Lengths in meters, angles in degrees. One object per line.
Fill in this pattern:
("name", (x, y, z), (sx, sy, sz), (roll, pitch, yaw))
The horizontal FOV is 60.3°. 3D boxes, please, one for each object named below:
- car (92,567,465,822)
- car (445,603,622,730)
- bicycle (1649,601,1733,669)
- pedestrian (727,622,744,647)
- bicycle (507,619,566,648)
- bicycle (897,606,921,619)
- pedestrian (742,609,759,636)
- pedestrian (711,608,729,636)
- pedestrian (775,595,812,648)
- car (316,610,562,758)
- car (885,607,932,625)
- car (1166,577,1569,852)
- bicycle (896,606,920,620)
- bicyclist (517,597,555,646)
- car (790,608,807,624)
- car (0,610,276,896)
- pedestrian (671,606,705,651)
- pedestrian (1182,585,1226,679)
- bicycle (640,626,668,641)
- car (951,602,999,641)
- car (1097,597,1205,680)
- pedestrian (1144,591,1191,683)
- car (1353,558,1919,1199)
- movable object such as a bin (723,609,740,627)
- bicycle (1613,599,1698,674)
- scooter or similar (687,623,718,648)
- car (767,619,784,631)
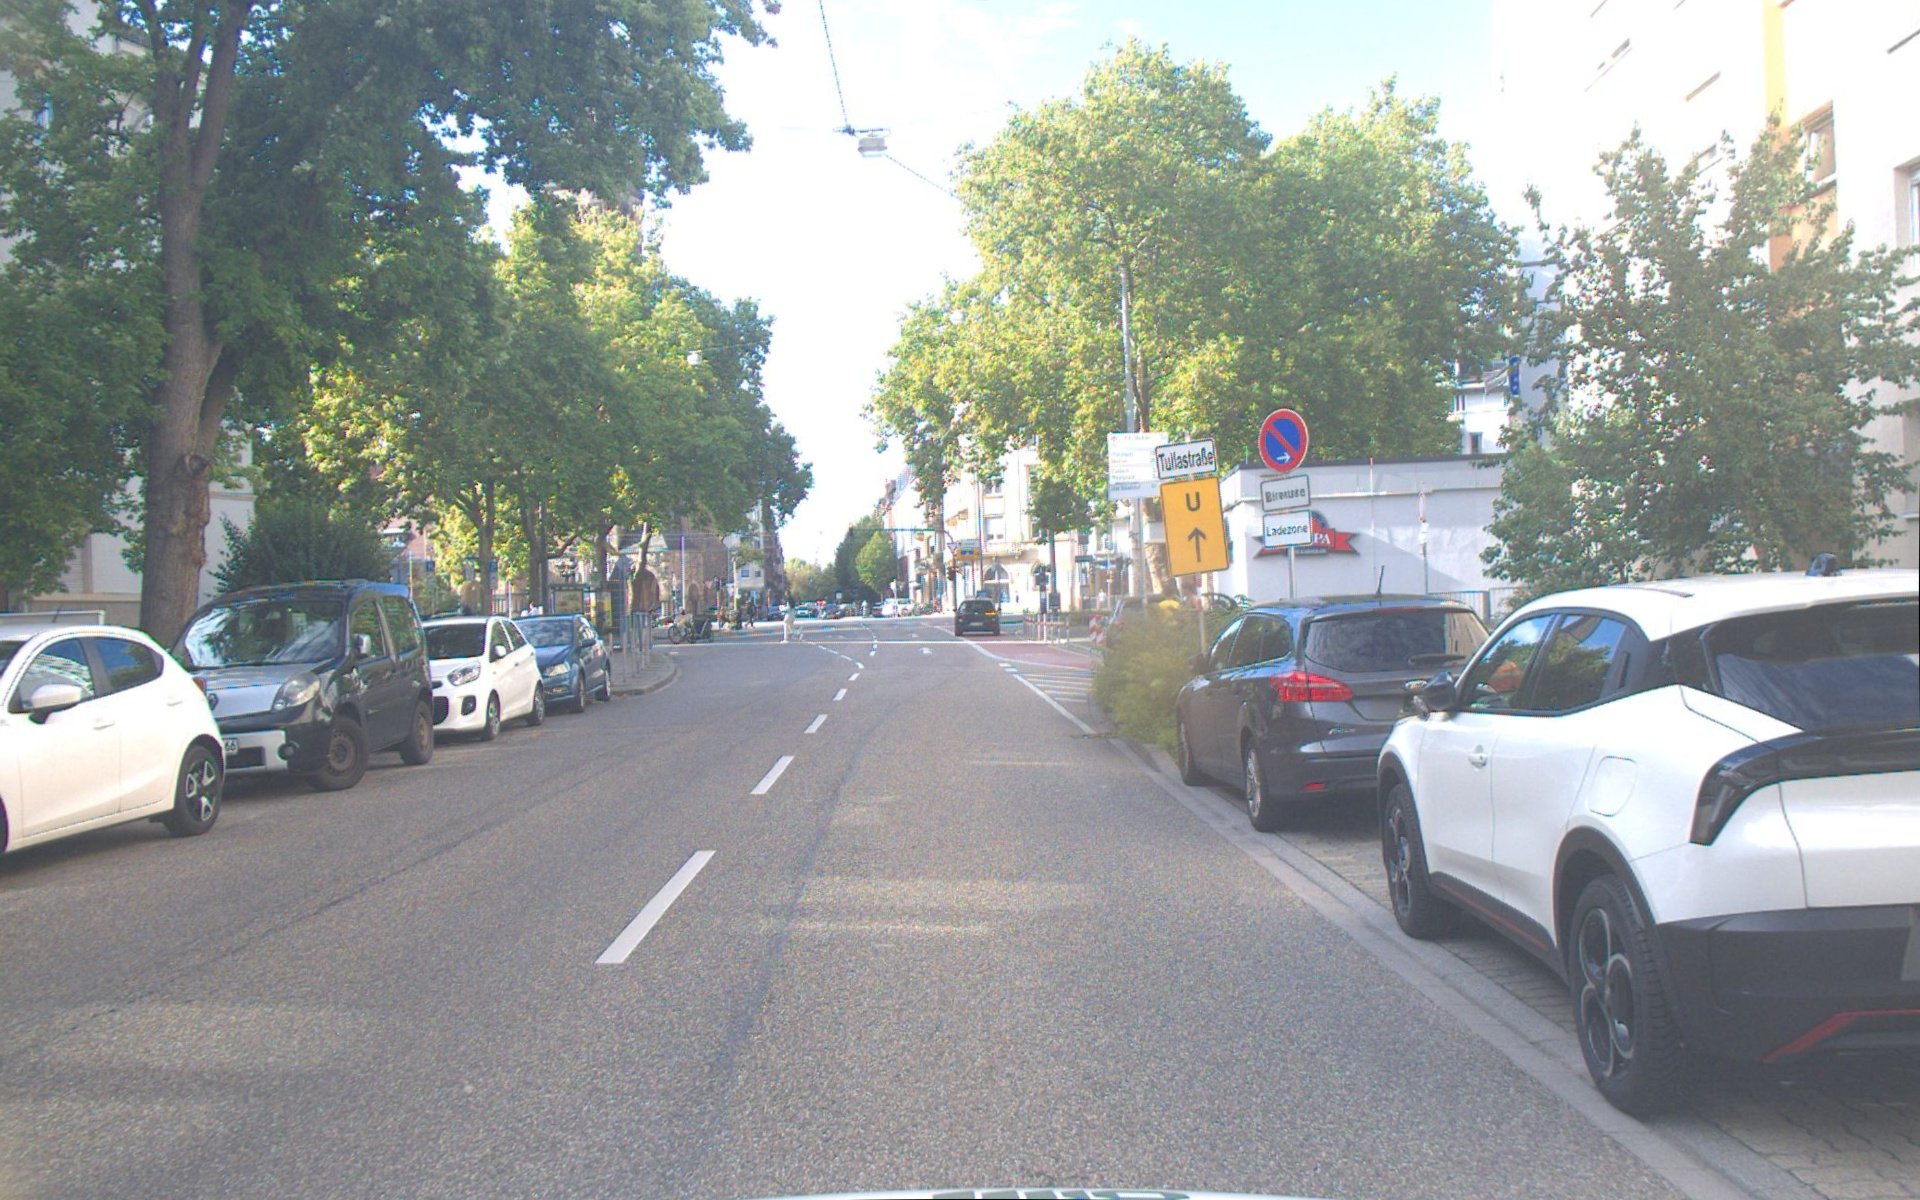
("car", (-6.054, 0.753, 15.267), (1.688, 1.915, 4.190), (-4, 0, -2))
("car", (-6.387, 0.942, 25.166), (1.764, 1.648, 3.801), (-4, 0, -3))
("bicycle", (10.944, 0.508, 24.807), (0.468, 0.980, 1.552), (-1, 0, -4))
("pedestrian", (-13.895, 2.130, 102.451), (0.765, 1.457, 0.731), (-2, 0, 22))
("bicycle", (-15.112, 1.193, 59.040), (1.879, 1.011, 0.764), (-1, 0, 5))
("bicycle", (-4.495, 1.084, 144.878), (1.989, 1.101, 0.628), (-2, 0, -15))
("pedestrian", (-13.219, 1.413, 104.456), (0.764, 1.691, 0.779), (-2, 0, 18))
("pedestrian", (-15.103, 1.404, 104.199), (0.798, 1.656, 0.605), (-6, 1, 20))
("pedestrian", (-5.711, 0.737, 56.682), (1.057, 1.784, 0.914), (-1, 0, -18))
("car", (-6.344, 0.959, 20.591), (1.763, 1.519, 3.802), (-4, 0, 0))
("car", (-4.549, 1.427, 146.710), (3.913, 1.445, 1.996), (-2, 0, -9))
("car", (2.696, 0.681, 11.980), (1.656, 1.555, 4.235), (-3, 0, -3))
("bicycle", (-4.532, 1.113, 144.218), (1.989, 1.101, 0.618), (-2, 0, -15))
("bicyclist", (-15.115, 0.765, 58.994), (1.086, 1.721, 0.815), (-1, 0, 4))
("car", (-22.027, 2.149, 225.721), (1.953, 2.049, 3.999), (-2, 0, -1))
("car", (-6.019, 0.892, 10.109), (1.659, 1.519, 4.333), (-3, 0, 2))
("pedestrian", (-10.422, 1.085, 63.334), (0.796, 1.683, 1.076), (-2, 0, 21))
("pedestrian", (4.422, 0.571, 30.046), (0.639, 1.674, 0.743), (-1, 0, -2))
("bicycle", (-20.530, 2.240, 110.912), (1.792, 0.972, 0.573), (-2, 0, 22))
("car", (0.563, 0.830, 64.966), (1.716, 1.438, 3.998), (-1, 0, -2))
("car", (3.701, 0.719, 32.599), (1.724, 1.436, 4.234), (-3, 0, 2))
("pedestrian", (3.654, 0.650, 29.214), (0.639, 1.565, 0.743), (-3, 0, -2))
("car", (2.775, 0.660, 6.144), (1.655, 1.555, 4.238), (-2, 0, 1))
("movable object such as a bin", (-14.359, 1.140, 103.956), (0.820, 1.143, 0.575), (-1, 0, 18))
("bicycle", (10.402, 0.528, 24.784), (0.511, 1.074, 1.552), (-1, 0, -4))
("scooter or similar", (-10.000, 1.383, 64.318), (0.789, 0.939, 1.014), (-2, 0, 20))
("car", (-19.966, 2.675, 179.008), (1.519, 1.251, 3.586), (-1, 0, -2))
